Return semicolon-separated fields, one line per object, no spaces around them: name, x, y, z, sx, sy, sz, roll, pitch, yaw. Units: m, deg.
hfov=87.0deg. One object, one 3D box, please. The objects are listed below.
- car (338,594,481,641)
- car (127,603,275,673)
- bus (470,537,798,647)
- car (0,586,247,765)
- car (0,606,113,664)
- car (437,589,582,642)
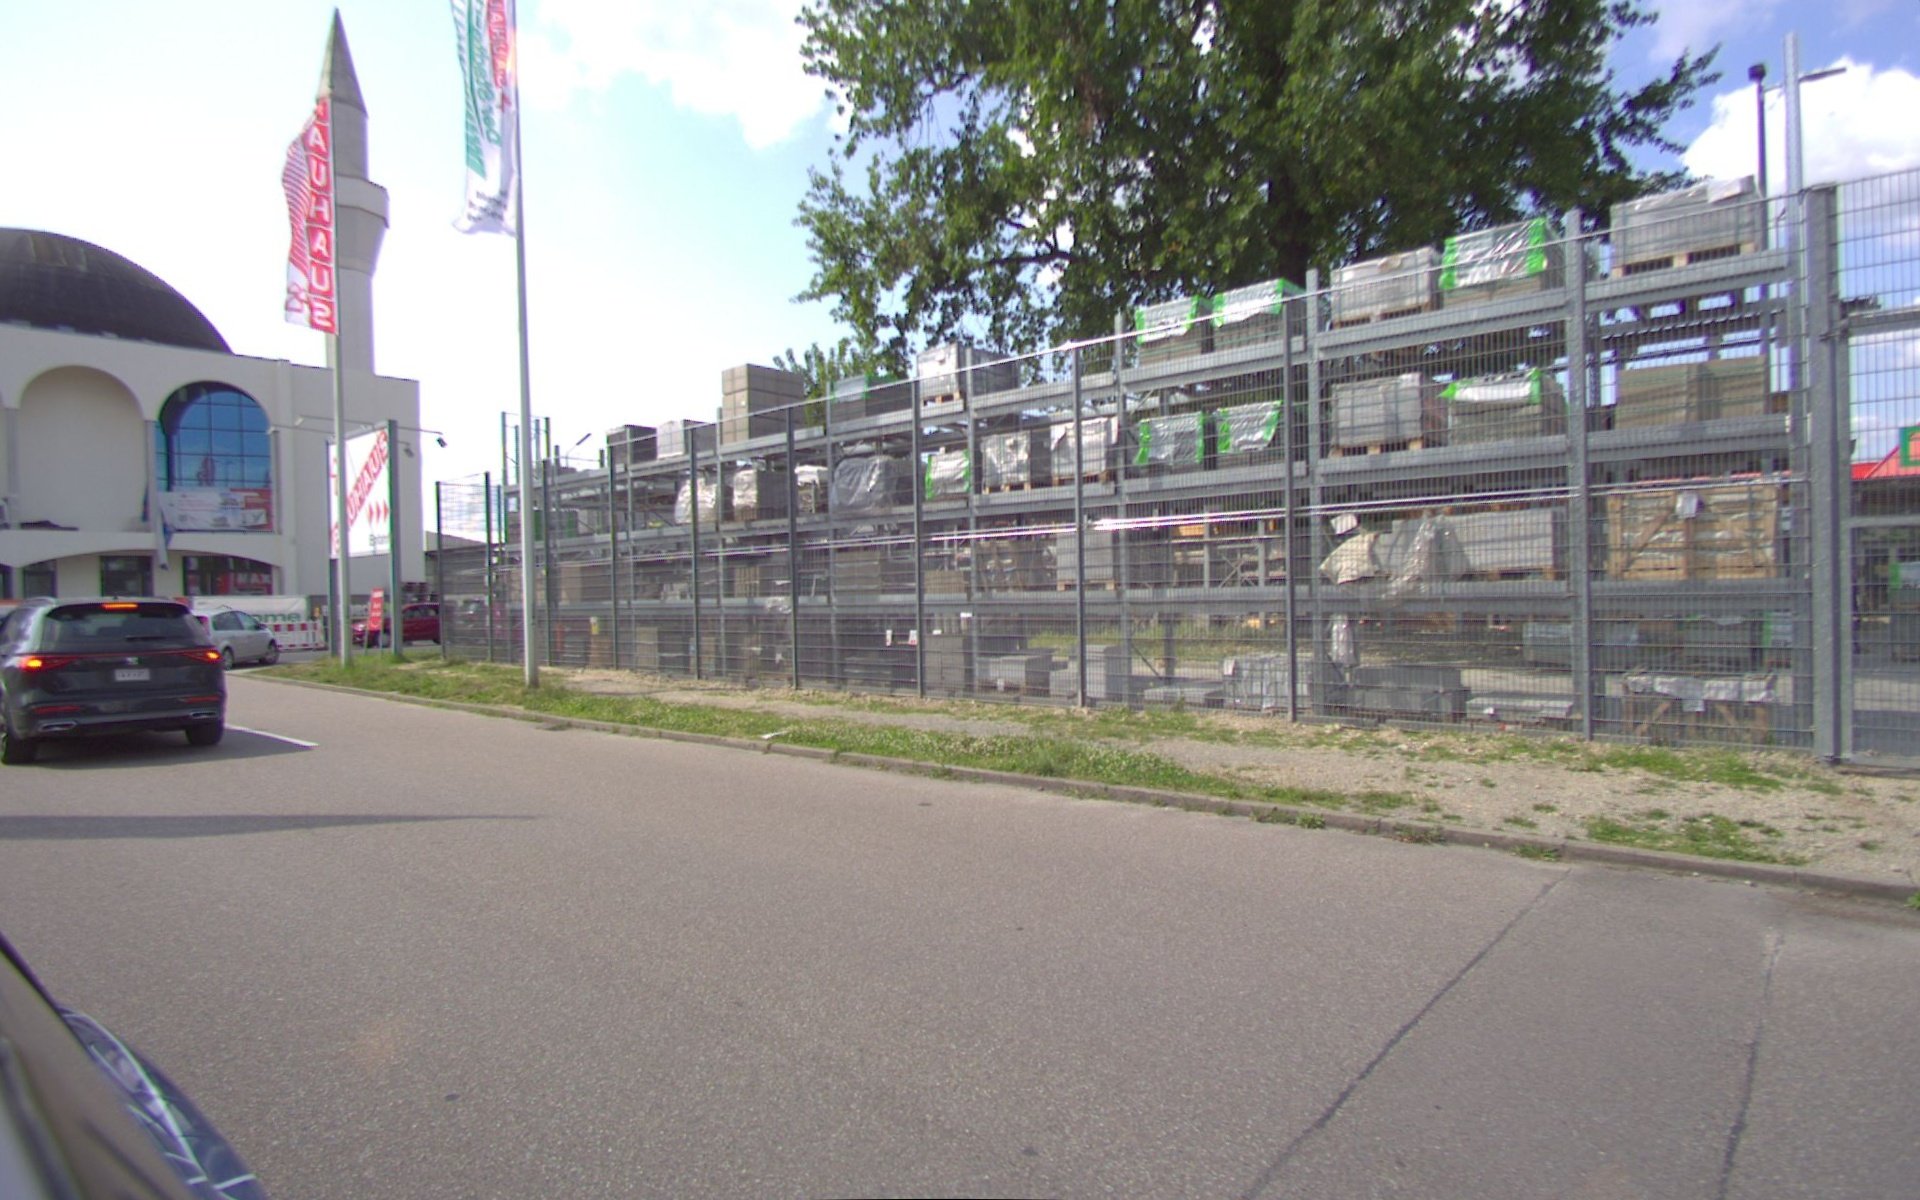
car;-19.730;0.587;36.405;1.791;1.521;4.136;-1;1;42
car;-19.382;0.895;26.052;1.694;1.576;4.222;-2;1;-17
bus;-11.277;-0.373;36.689;2.892;3.389;11.410;-1;1;41
car;-9.815;0.721;11.352;4.370;1.630;1.896;-2;0;40
car;-26.485;0.983;28.257;1.696;1.525;4.139;-1;1;41
car;-15.918;0.540;35.930;1.770;1.678;4.323;-4;-2;44
